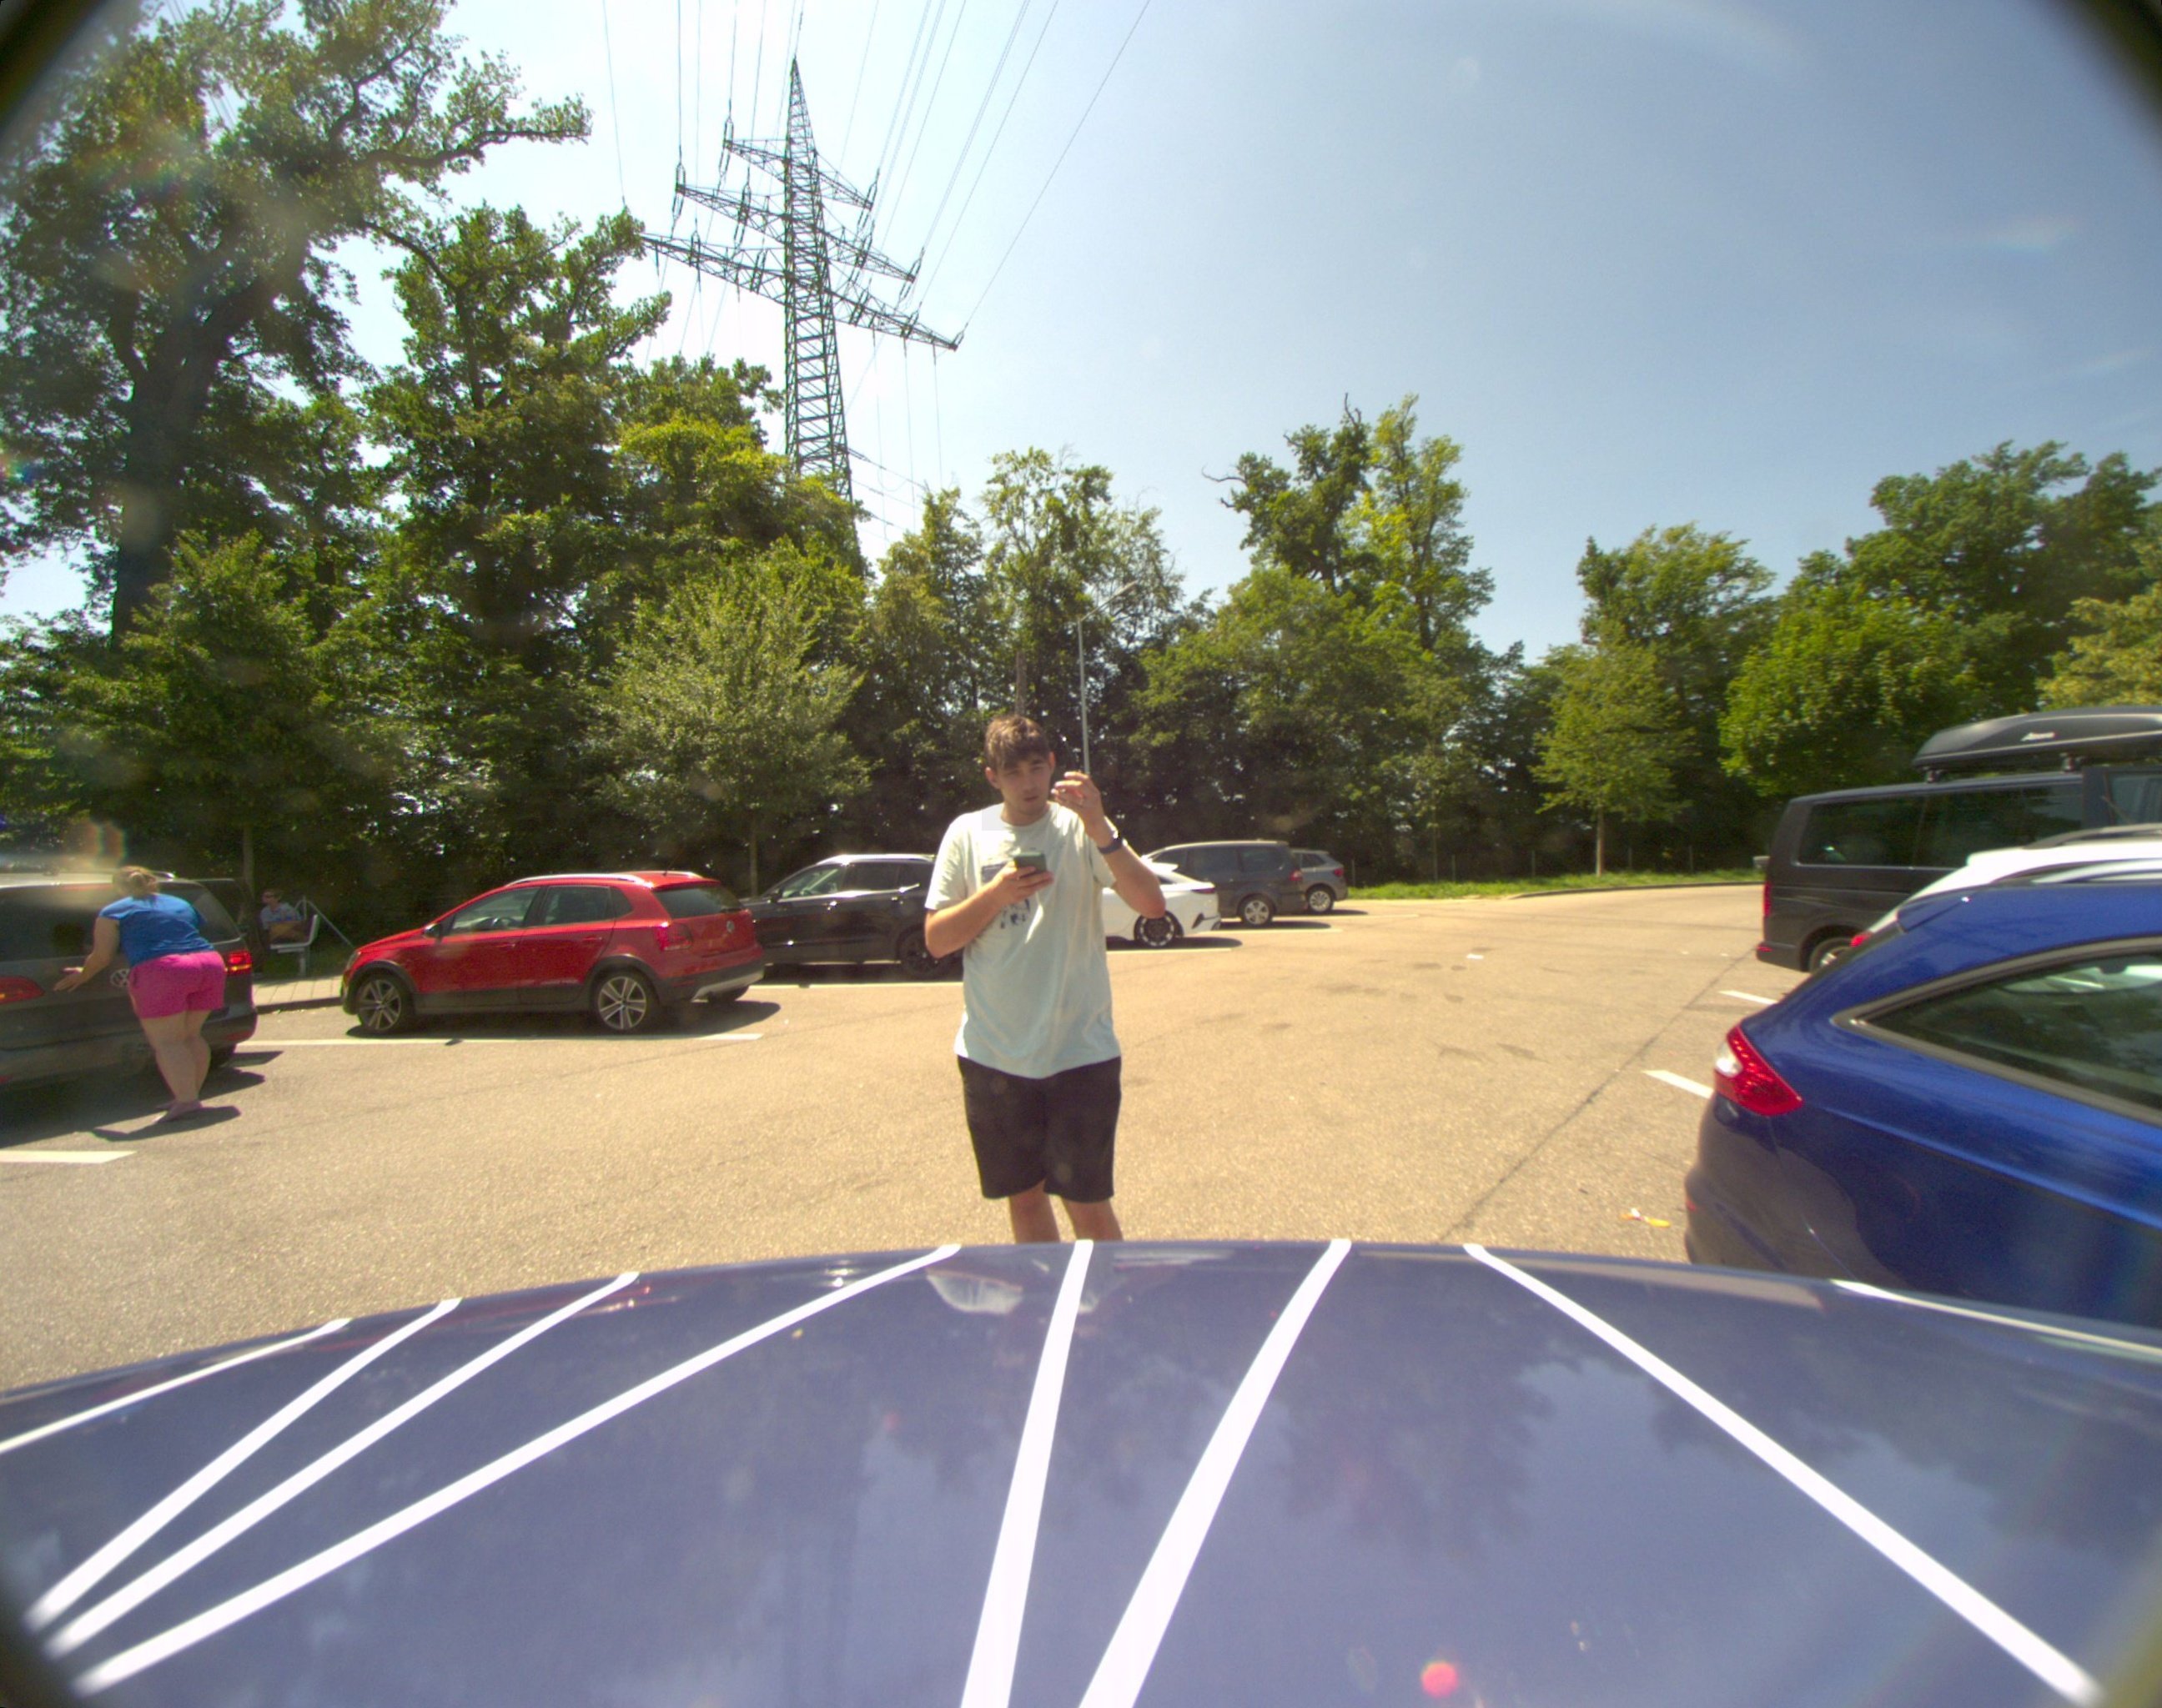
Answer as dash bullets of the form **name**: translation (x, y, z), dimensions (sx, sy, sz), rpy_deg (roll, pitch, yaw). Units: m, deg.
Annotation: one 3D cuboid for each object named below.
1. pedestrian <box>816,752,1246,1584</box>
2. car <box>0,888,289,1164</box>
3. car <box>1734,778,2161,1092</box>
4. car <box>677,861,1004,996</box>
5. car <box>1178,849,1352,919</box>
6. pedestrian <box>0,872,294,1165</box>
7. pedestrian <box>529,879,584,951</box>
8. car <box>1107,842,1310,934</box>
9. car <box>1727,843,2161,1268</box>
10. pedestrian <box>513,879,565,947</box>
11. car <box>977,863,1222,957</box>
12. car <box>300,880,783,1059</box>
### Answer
- **pedestrian**: translation (-0.112, 0.700, 2.012), dimensions (0.890, 1.831, 0.622), rpy_deg (-2, 1, -2)
- **car**: translation (-8.298, 1.105, 5.438), dimensions (3.985, 1.572, 1.749), rpy_deg (-1, 1, 12)
- **car**: translation (7.314, 0.439, 4.911), dimensions (1.961, 1.858, 4.642), rpy_deg (-3, -1, -3)
- **car**: translation (-3.074, 0.937, 10.258), dimensions (3.787, 1.564, 1.721), rpy_deg (-1, 1, 2)
- **car**: translation (4.332, 0.692, 18.153), dimensions (3.818, 1.530, 1.722), rpy_deg (-1, 1, 12)
- **pedestrian**: translation (-5.986, 0.979, 4.917), dimensions (0.733, 1.672, 0.920), rpy_deg (-2, 1, 10)
- **pedestrian**: translation (-10.012, 1.137, 14.502), dimensions (0.782, 1.287, 0.670), rpy_deg (-1, 2, 45)
- **car**: translation (2.580, 0.669, 15.450), dimensions (3.818, 1.714, 1.722), rpy_deg (-1, 1, 12)
- **car**: translation (4.867, 0.726, 2.282), dimensions (1.741, 1.524, 4.642), rpy_deg (-3, -1, -2)
- **pedestrian**: translation (-10.914, 1.163, 15.310), dimensions (0.782, 1.287, 0.670), rpy_deg (-1, 2, 45)
- **car**: translation (0.357, 0.901, 12.724), dimensions (3.819, 1.377, 1.722), rpy_deg (-1, 1, 6)
- **car**: translation (-5.246, 1.066, 7.648), dimensions (3.785, 1.457, 1.722), rpy_deg (-1, 1, 9)
